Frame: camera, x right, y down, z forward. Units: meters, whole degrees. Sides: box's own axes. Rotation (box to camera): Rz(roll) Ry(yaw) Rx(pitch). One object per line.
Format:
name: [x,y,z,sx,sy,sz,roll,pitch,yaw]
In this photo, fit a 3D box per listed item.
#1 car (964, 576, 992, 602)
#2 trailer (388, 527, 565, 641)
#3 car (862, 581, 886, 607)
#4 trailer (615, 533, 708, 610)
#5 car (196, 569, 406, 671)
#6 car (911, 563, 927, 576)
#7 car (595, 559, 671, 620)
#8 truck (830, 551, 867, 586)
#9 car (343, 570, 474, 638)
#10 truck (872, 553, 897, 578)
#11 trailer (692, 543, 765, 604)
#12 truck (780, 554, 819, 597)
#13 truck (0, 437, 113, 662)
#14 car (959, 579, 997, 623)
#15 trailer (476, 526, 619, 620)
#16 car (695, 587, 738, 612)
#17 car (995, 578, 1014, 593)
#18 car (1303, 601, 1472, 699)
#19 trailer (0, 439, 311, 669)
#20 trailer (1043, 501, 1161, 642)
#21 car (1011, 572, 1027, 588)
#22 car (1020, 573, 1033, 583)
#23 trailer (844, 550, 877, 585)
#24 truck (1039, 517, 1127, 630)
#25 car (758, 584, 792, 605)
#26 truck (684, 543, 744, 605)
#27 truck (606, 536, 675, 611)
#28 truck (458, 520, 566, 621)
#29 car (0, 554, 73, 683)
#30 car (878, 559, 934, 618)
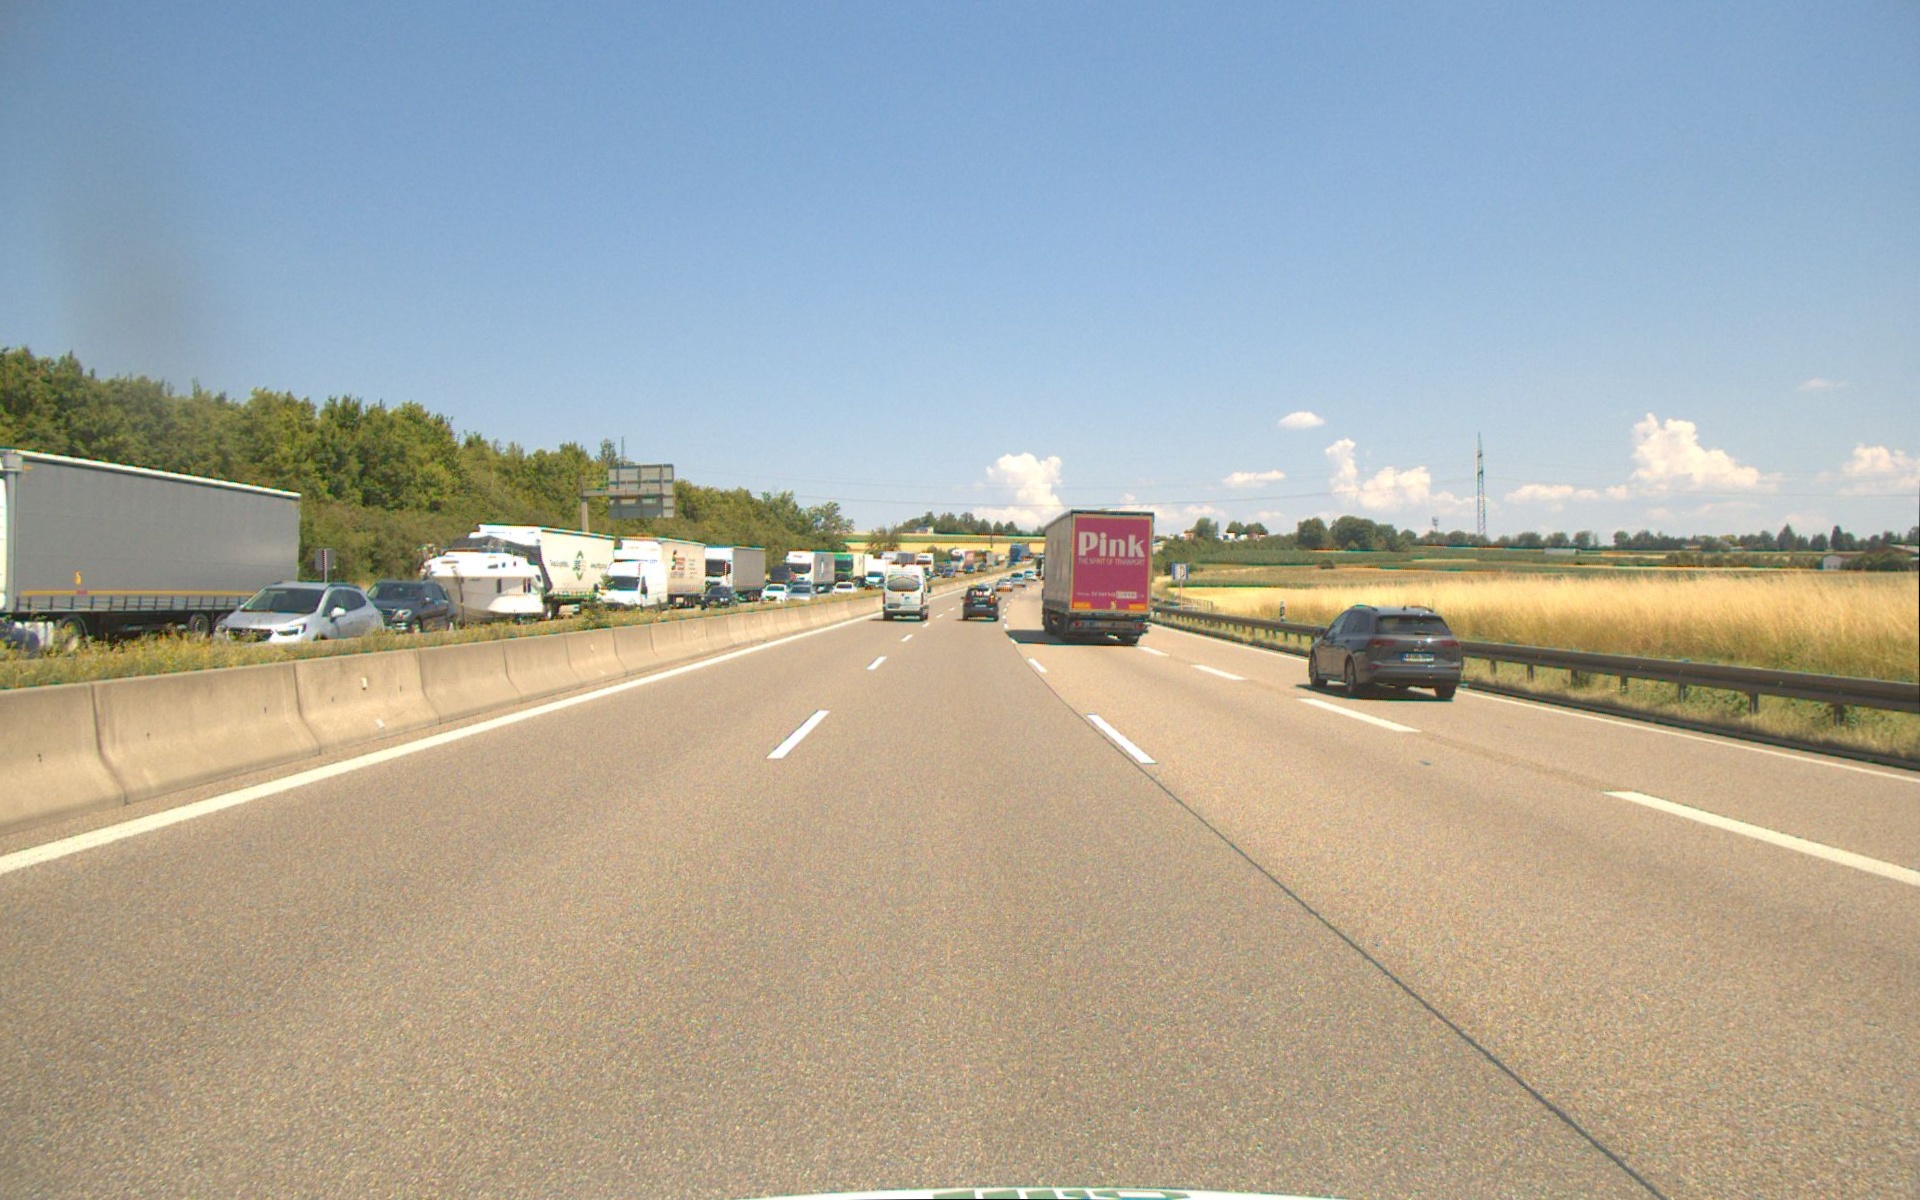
car: [1.334,-0.795,120.191,1.952,1.780,4.001,1,0,2]
trailer: [-15.259,-0.450,53.199,2.811,3.239,10.725,1,0,-2]
car: [-9.771,-0.680,188.949,2.094,2.834,6.627,1,0,3]
trailer: [-18.186,-1.742,101.794,2.753,4.353,13.872,1,1,2]
car: [-11.801,0.330,29.967,1.803,1.706,4.444,0,0,4]
car: [-5.857,-4.347,235.994,1.822,1.670,5.116,1,0,3]
car: [-14.950,-0.491,76.072,1.858,2.619,7.573,1,0,1]
truck: [-13.107,-3.805,195.184,2.783,3.966,11.255,0,1,4]
car: [-15.078,0.104,45.499,2.064,1.753,4.929,0,0,-2]
truck: [-10.174,-4.691,223.557,2.485,3.263,7.594,1,2,4]
trailer: [-17.308,-1.922,124.614,2.920,4.279,14.198,1,1,2]
truck: [-15.515,-2.383,160.248,2.793,4.106,6.607,0,1,3]
truck: [-19.562,-0.959,32.023,3.134,4.205,6.183,0,0,0]
car: [0.873,0.032,81.270,1.809,1.893,4.207,0,3,1]
trailer: [-18.804,-1.207,76.595,2.843,3.940,13.879,1,0,1]
car: [-14.801,-0.050,100.754,1.838,1.459,4.925,1,1,1]
car: [4.887,-1.650,182.235,1.953,1.612,4.000,0,1,0]
car: [7.130,0.793,28.059,1.725,1.496,4.536,1,0,1]
trailer: [-19.655,-0.950,39.188,3.156,4.498,13.779,0,0,0]
trailer: [4.605,-1.000,56.520,2.858,4.189,13.860,1,1,0]
car: [7.380,-2.508,207.706,1.952,1.937,4.001,1,0,3]
car: [9.762,-3.302,243.184,1.952,1.333,4.002,0,2,2]
trailer: [-12.244,-4.052,204.492,2.858,4.142,8.236,0,1,5]
truck: [4.628,-1.032,63.365,2.856,4.078,6.511,1,1,0]
car: [-13.324,-0.398,119.324,1.842,1.500,4.407,1,0,1]
truck: [-17.564,-1.845,118.486,2.900,4.283,6.607,1,0,3]
truck: [-18.330,-1.534,95.234,2.698,4.113,6.100,1,1,1]
truck: [-18.917,-1.240,70.175,2.789,4.077,5.975,1,0,1]
car: [-12.525,0.218,19.452,1.953,1.547,4.306,0,0,-2]
car: [-2.547,-0.526,78.704,2.134,2.670,4.674,1,0,4]
